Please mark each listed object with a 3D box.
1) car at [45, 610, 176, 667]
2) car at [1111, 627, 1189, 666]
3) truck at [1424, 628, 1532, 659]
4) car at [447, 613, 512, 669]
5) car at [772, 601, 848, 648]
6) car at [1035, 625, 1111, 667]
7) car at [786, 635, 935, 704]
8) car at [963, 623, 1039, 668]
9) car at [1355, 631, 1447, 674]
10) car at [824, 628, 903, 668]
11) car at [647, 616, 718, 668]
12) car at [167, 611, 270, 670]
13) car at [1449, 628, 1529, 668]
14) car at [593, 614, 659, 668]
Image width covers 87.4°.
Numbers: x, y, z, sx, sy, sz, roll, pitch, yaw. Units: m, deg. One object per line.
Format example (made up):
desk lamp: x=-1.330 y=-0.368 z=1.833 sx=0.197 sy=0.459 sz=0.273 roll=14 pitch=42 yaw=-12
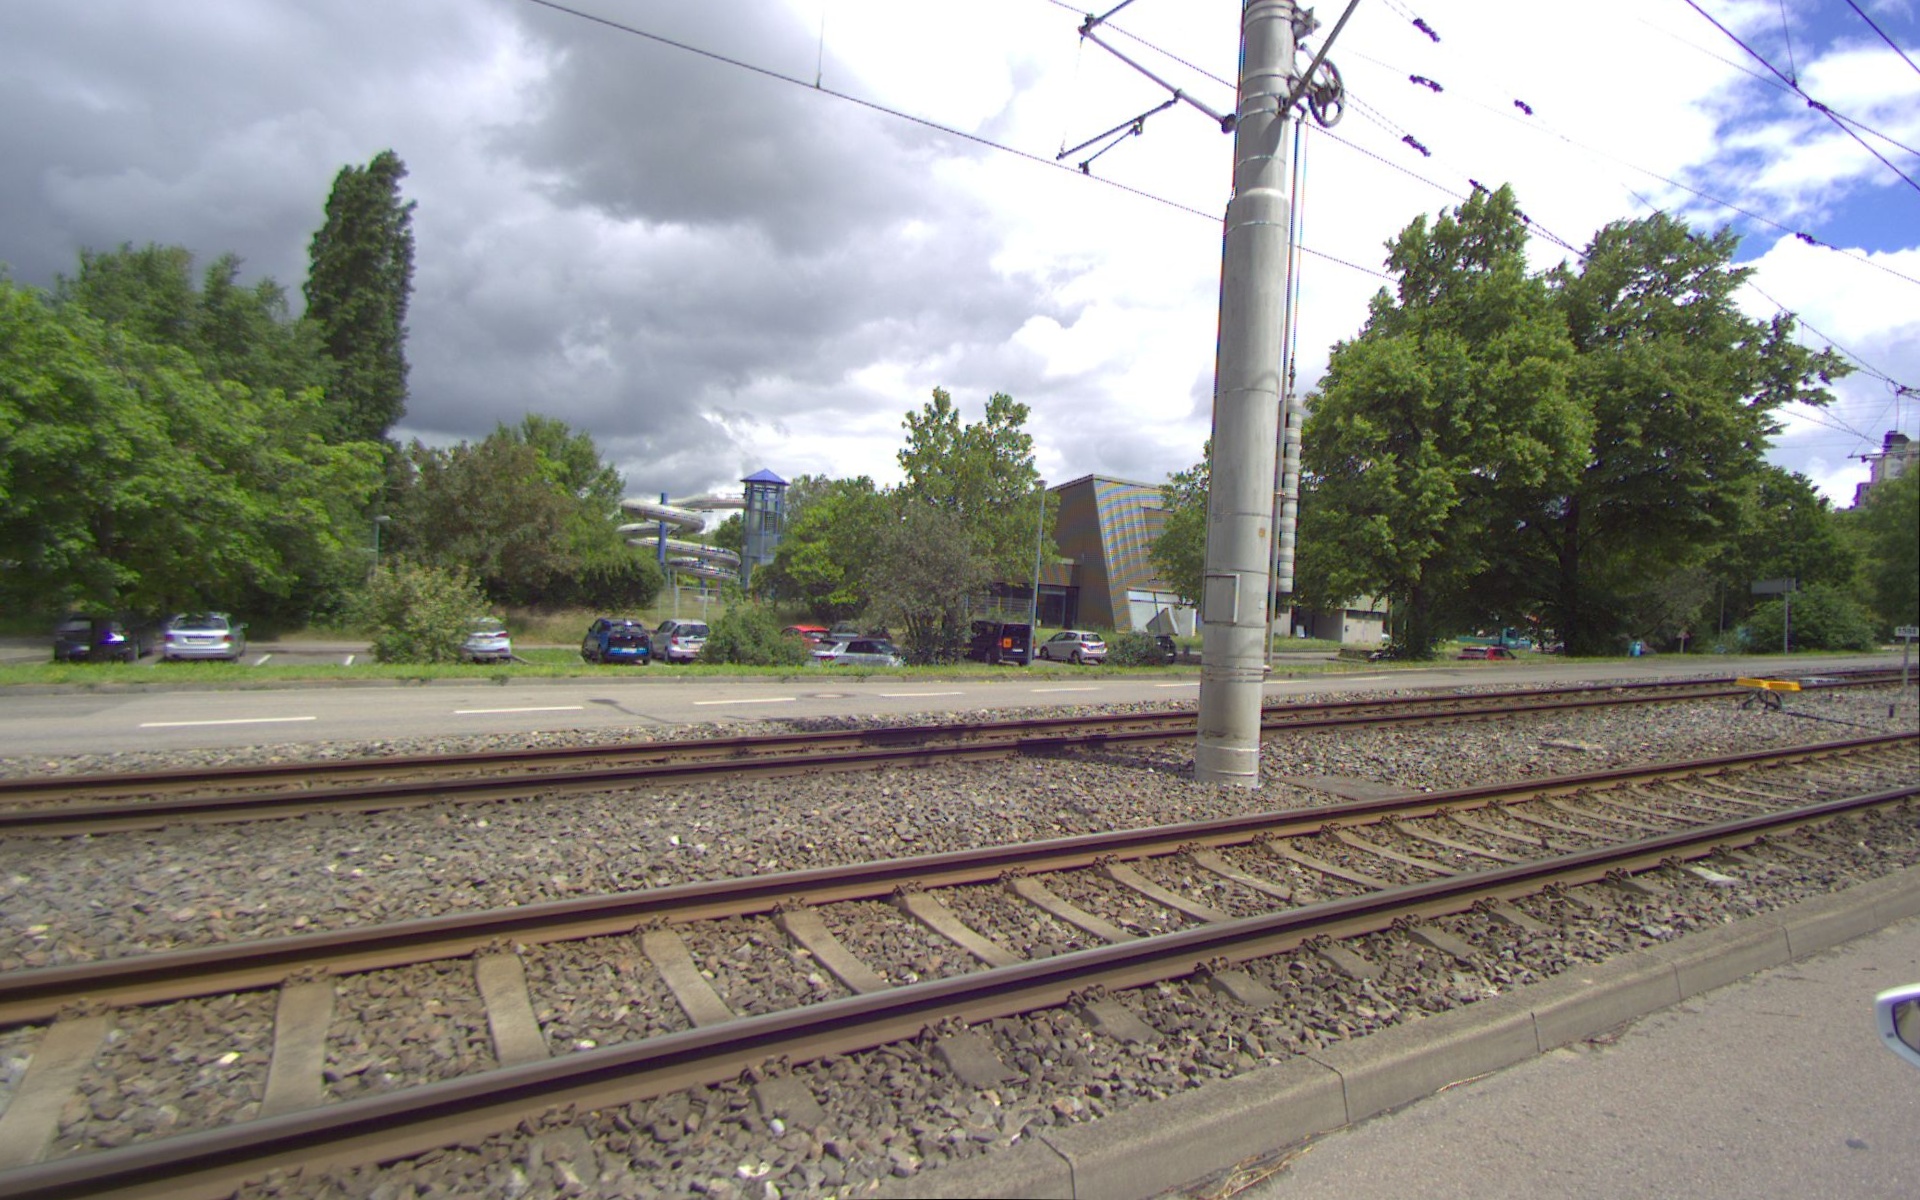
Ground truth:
car: x=-24.503 y=1.070 z=29.134 sx=1.753 sy=1.293 sz=3.954 roll=4 pitch=1 yaw=-23
car: x=9.383 y=2.293 z=49.957 sx=1.833 sy=1.620 sz=3.976 roll=2 pitch=1 yaw=-24
truck: x=48.883 y=4.019 z=95.105 sx=2.586 sy=2.731 sz=9.040 roll=1 pitch=-2 yaw=-32
car: x=-16.226 y=1.323 z=33.858 sx=1.819 sy=1.601 sz=3.899 roll=1 pitch=2 yaw=-28
car: x=-6.043 y=0.935 z=40.097 sx=1.969 sy=1.601 sz=3.942 roll=1 pitch=2 yaw=-25
car: x=5.286 y=2.152 z=47.569 sx=1.832 sy=1.620 sz=3.978 roll=2 pitch=1 yaw=-22
car: x=-2.988 y=2.038 z=30.338 sx=4.024 sy=1.779 sz=1.978 roll=0 pitch=2 yaw=-33
car: x=1.733 y=1.960 z=43.587 sx=1.923 sy=1.659 sz=3.588 roll=2 pitch=1 yaw=-22
car: x=19.650 y=2.308 z=44.722 sx=3.953 sy=1.795 sz=1.807 roll=1 pitch=0 yaw=-31
car: x=-3.953 y=1.915 z=40.665 sx=1.969 sy=1.269 sz=4.069 roll=1 pitch=2 yaw=-25
car: x=-10.457 y=1.524 z=37.681 sx=1.966 sy=1.601 sz=3.942 roll=1 pitch=2 yaw=-25
car: x=-22.128 y=1.178 z=30.104 sx=1.551 sy=1.409 sz=3.859 roll=4 pitch=1 yaw=-23
car: x=25.648 y=2.283 z=48.685 sx=3.958 sy=1.795 sz=1.805 roll=1 pitch=0 yaw=-34
car: x=-12.083 y=1.427 z=36.204 sx=1.844 sy=1.601 sz=3.942 roll=1 pitch=2 yaw=-25
